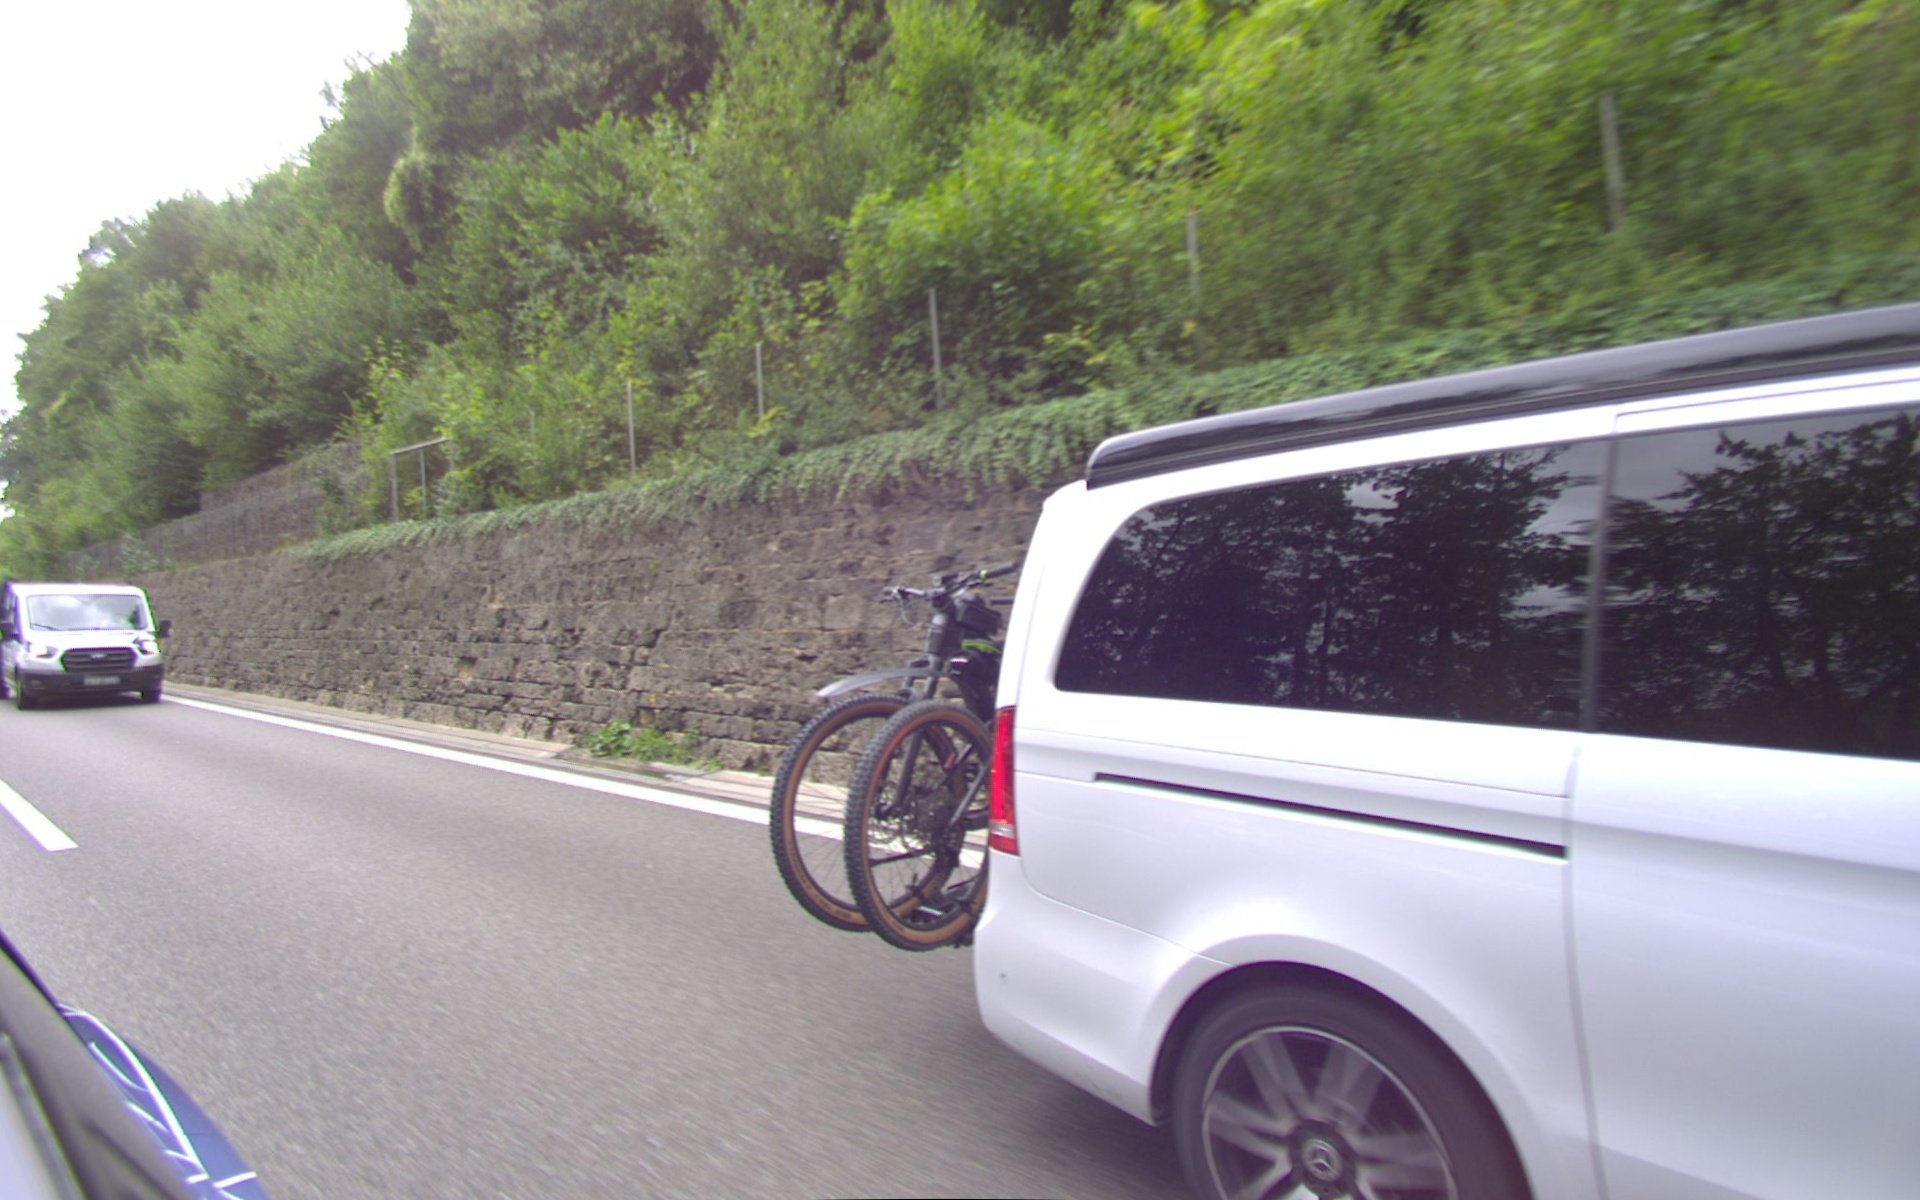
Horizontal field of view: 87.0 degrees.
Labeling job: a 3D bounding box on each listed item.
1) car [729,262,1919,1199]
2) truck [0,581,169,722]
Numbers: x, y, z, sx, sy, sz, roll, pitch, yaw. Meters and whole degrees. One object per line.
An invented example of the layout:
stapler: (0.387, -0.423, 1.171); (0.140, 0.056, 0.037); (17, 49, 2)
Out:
car: (2.256, 0.509, 1.836); (6.144, 1.967, 1.973); (-2, -1, 41)
truck: (-17.245, 0.911, 19.446); (6.582, 2.297, 1.973); (-2, -1, 41)
